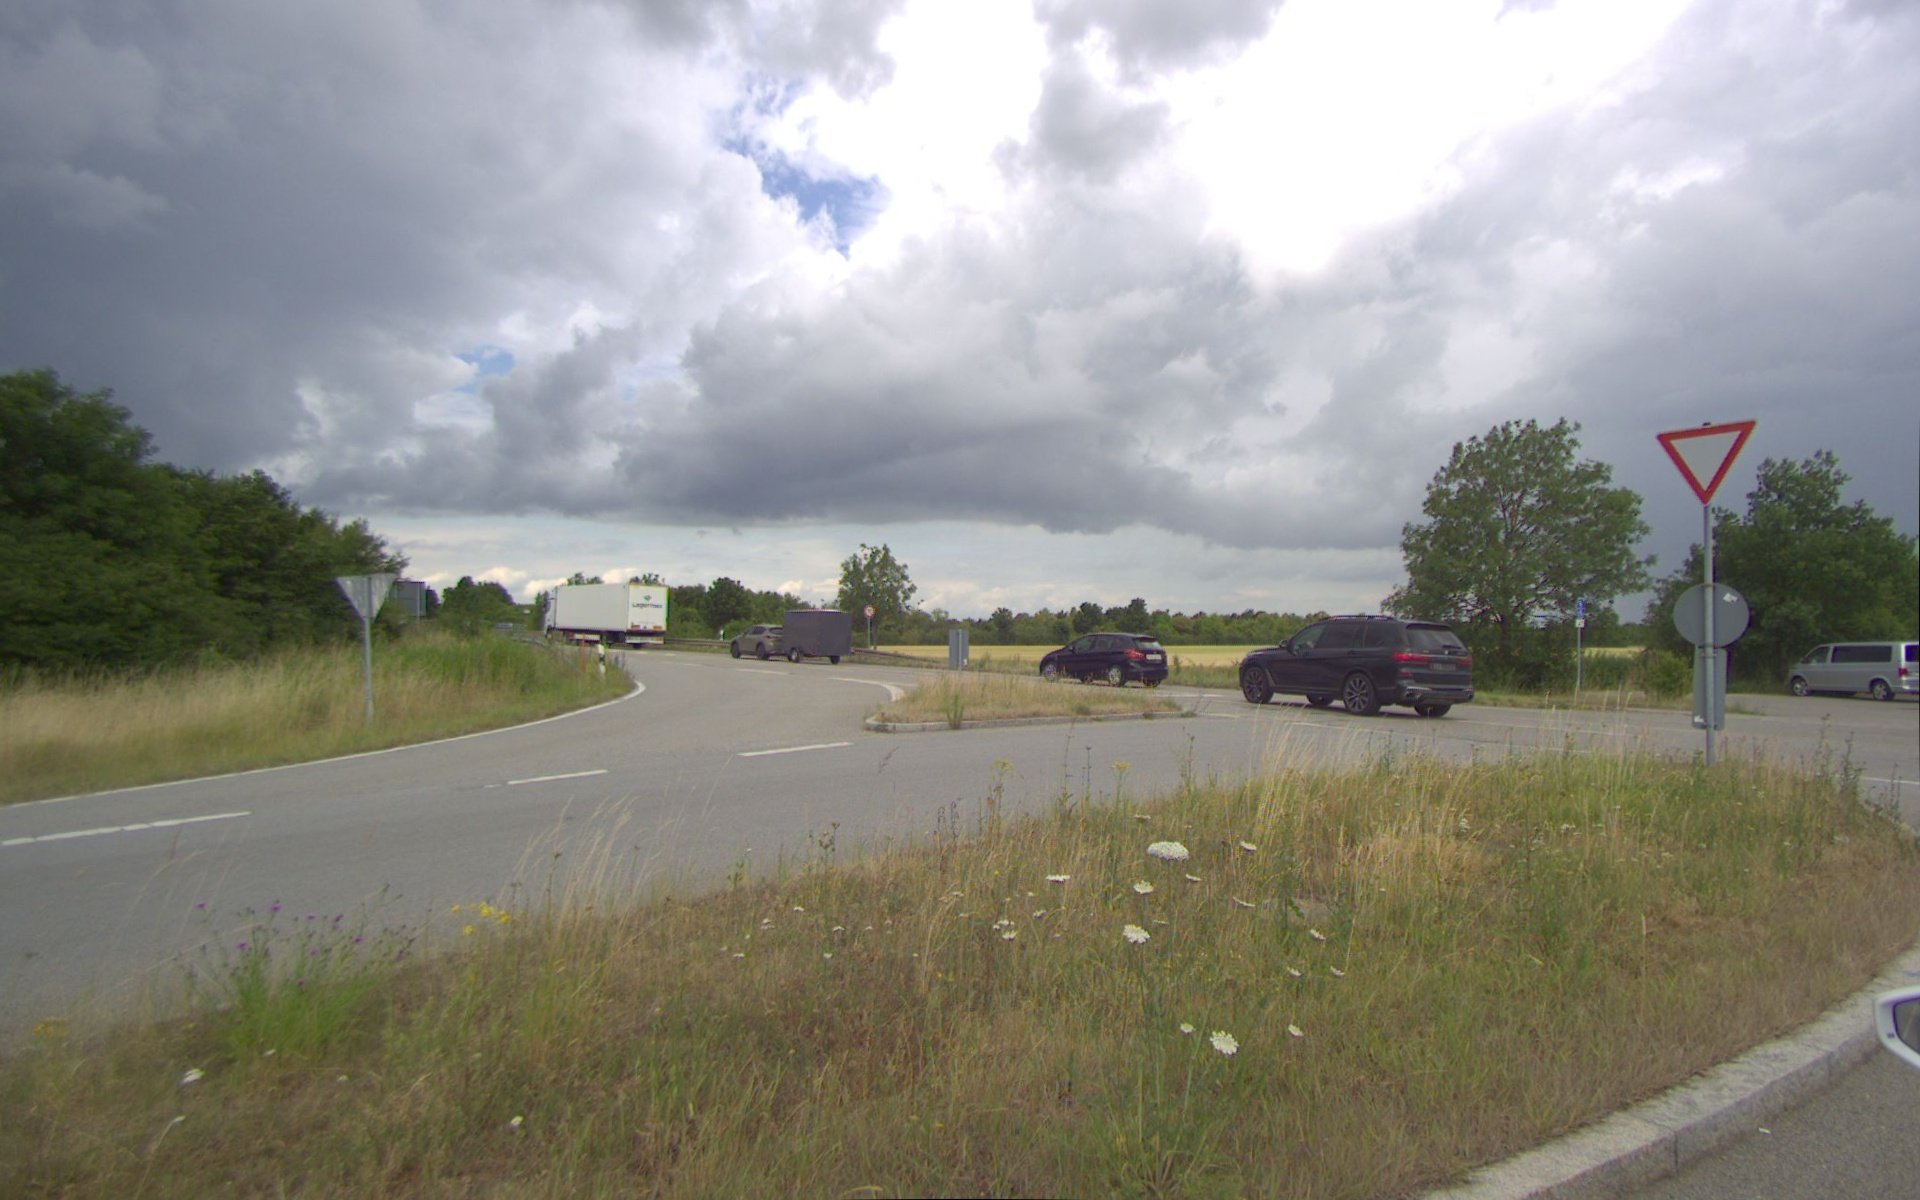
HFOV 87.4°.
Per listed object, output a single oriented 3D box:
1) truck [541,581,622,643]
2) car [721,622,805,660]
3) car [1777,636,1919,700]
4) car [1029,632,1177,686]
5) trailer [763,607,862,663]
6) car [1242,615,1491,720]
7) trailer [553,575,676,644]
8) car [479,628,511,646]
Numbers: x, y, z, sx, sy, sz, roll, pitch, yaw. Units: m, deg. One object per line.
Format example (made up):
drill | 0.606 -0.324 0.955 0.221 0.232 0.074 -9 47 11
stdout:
truck | -26.686 0.892 70.591 3.102 4.066 7.226 3 -3 -39
car | -9.450 1.956 47.982 1.985 1.704 4.425 3 -3 -41
car | 31.644 2.288 35.024 2.296 2.040 4.916 -1 -2 1
car | 4.252 1.747 30.361 1.983 1.506 4.253 2 -3 -39
trailer | -6.571 1.554 44.604 2.398 2.322 4.345 3 -3 -40
car | 7.771 1.239 19.752 1.970 1.798 4.623 2 -2 -20
trailer | -22.920 0.711 65.893 3.102 4.066 13.733 3 -3 -38
car | -43.572 3.471 94.074 1.981 1.622 4.181 1 -3 -36
